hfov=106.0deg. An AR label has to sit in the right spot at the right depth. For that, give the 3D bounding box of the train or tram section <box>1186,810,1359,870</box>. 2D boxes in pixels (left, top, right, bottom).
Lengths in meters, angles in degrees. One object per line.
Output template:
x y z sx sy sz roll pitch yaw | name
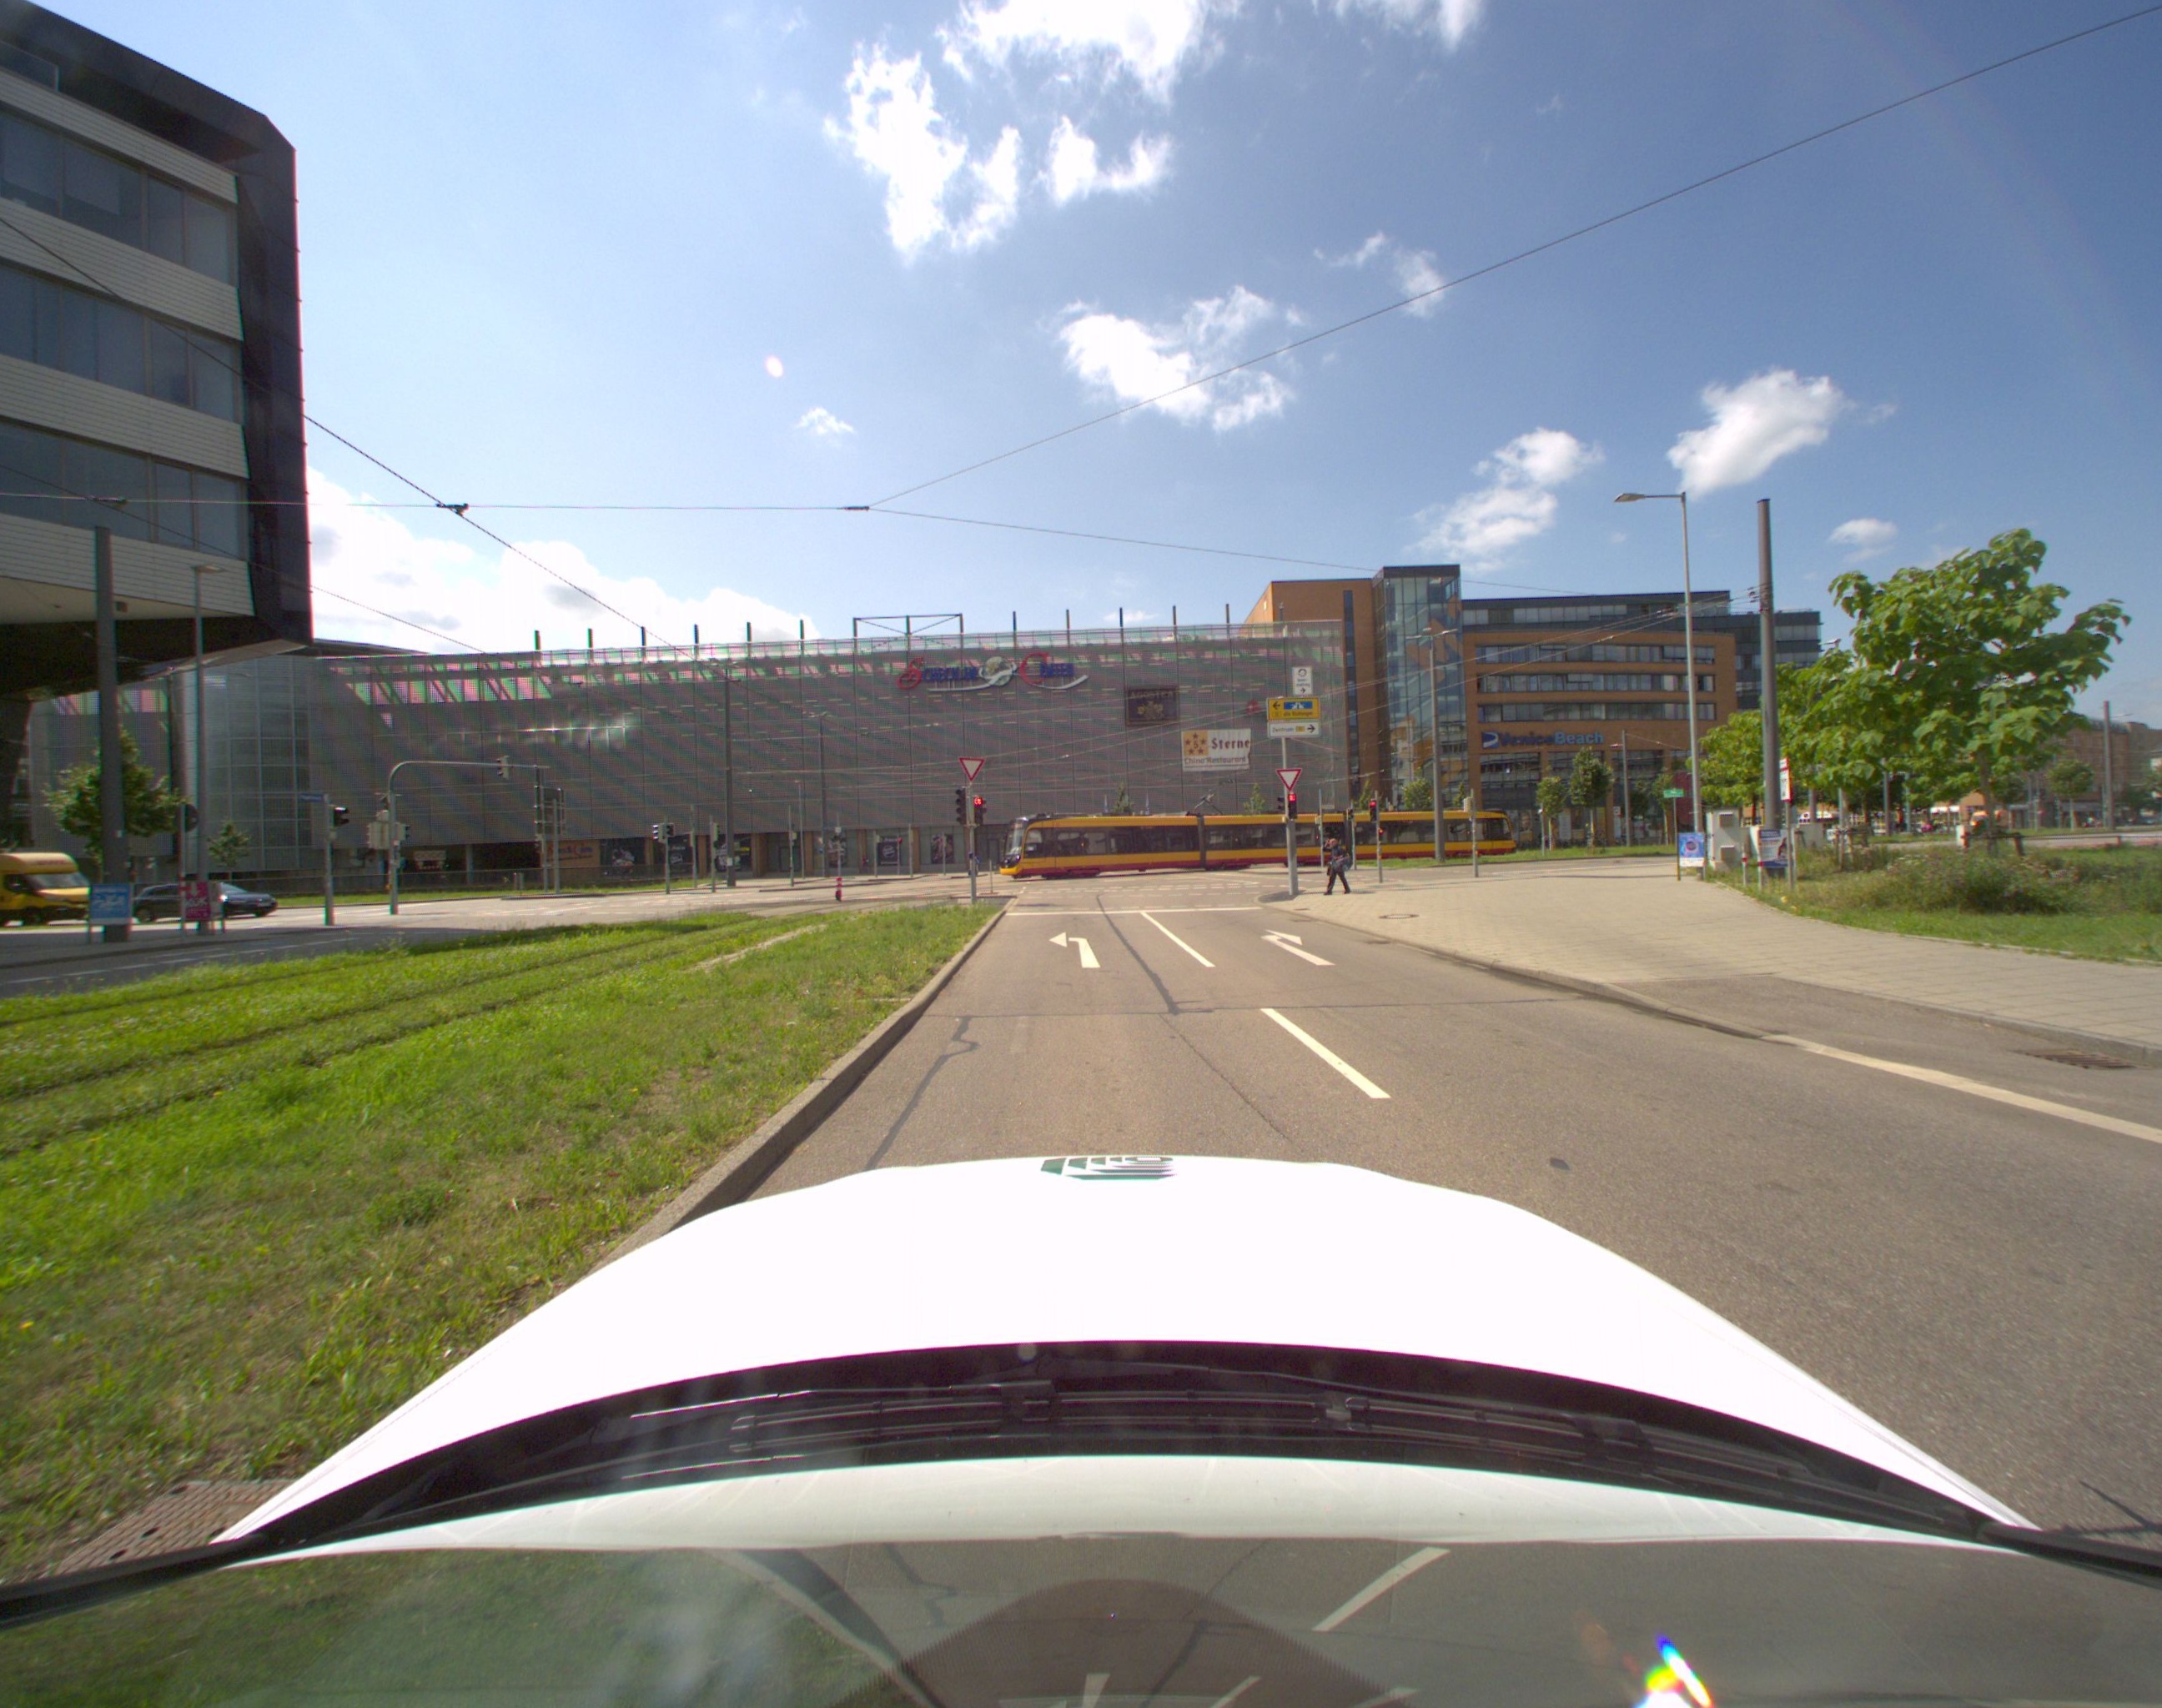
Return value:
12.415 -0.942 52.663 10.992 3.603 3.045 -1 0 -20 | train or tram section

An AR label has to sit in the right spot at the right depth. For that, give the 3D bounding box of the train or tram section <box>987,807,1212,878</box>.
1.400 -0.696 46.786 13.555 3.599 3.192 -1 0 -34 | train or tram section

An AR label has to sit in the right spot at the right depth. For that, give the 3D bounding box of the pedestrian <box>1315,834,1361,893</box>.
7.651 0.279 24.243 0.810 1.702 0.910 -3 -1 -29 | pedestrian

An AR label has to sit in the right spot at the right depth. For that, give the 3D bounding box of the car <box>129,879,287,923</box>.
-33.628 1.797 31.456 4.084 1.469 1.827 -2 0 0 | car

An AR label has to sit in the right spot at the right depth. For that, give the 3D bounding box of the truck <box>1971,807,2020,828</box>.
96.936 -3.872 86.306 5.533 2.085 1.983 -1 0 -26 | truck

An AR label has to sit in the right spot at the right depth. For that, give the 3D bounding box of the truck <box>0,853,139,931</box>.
-41.233 1.476 31.366 6.827 2.829 2.445 -2 0 -1 | truck

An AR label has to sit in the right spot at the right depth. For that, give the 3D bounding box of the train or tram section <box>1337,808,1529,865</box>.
24.067 -1.210 55.796 12.599 3.621 3.054 -1 0 -11 | train or tram section
